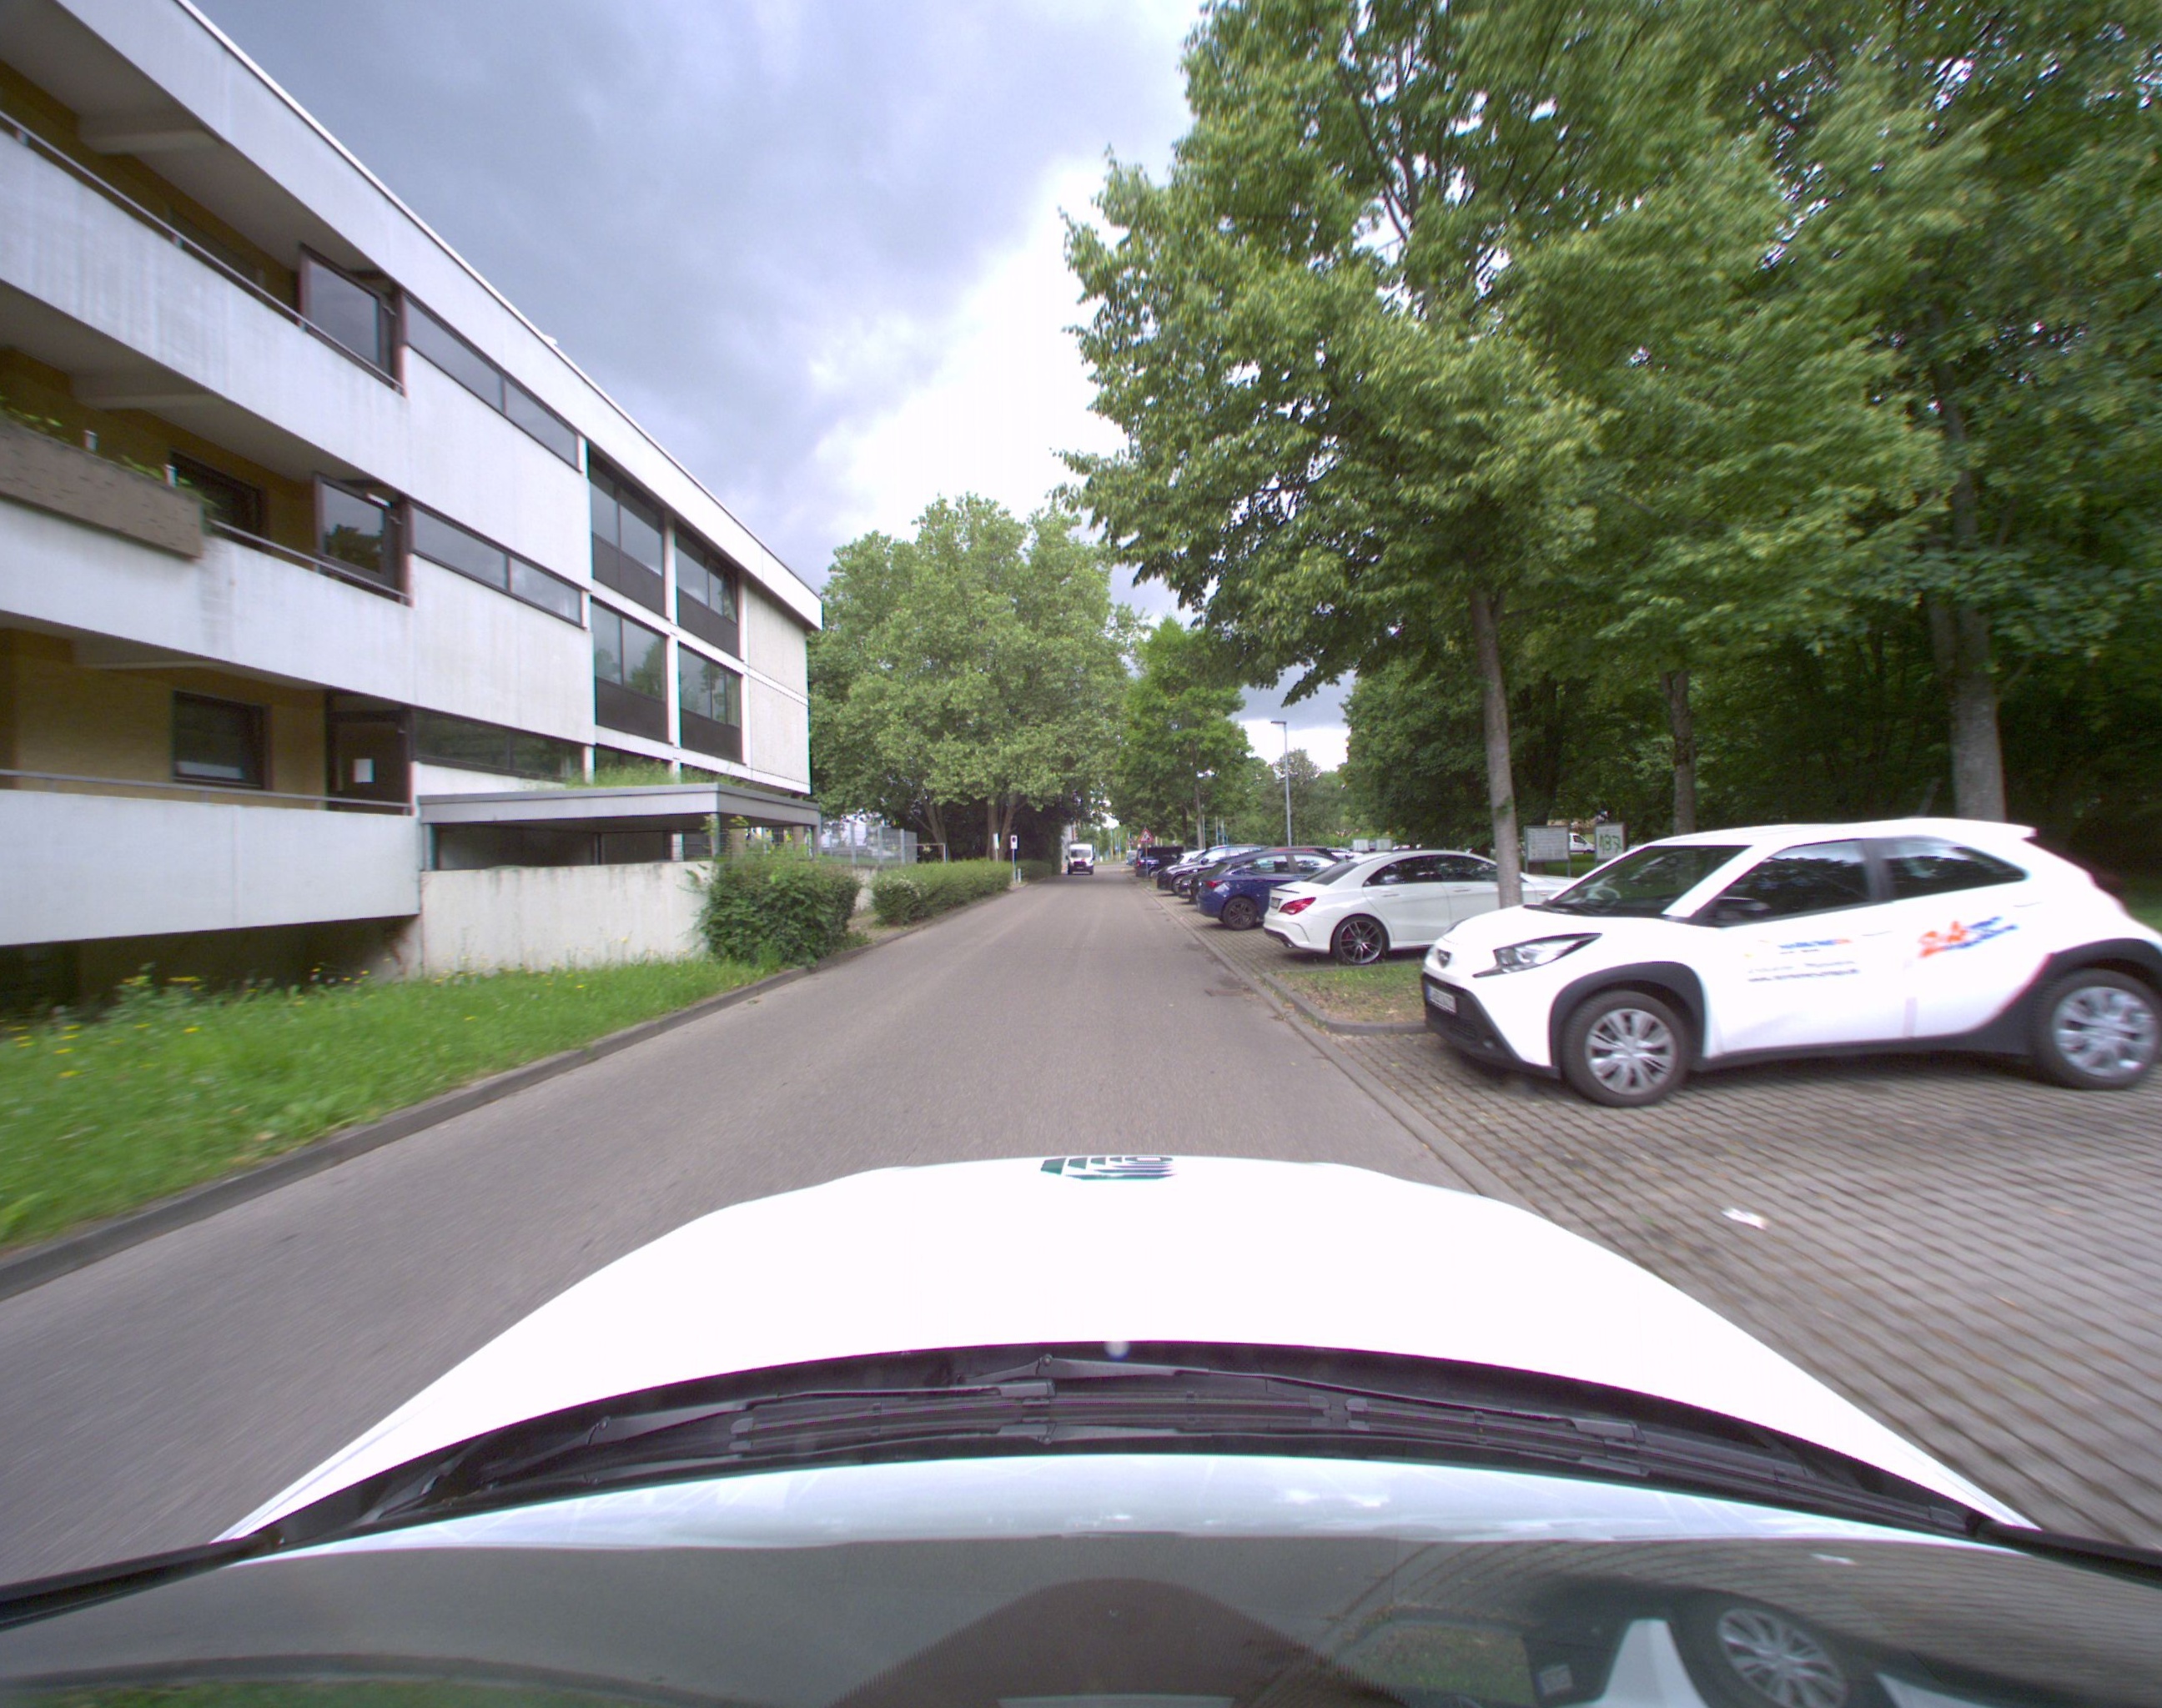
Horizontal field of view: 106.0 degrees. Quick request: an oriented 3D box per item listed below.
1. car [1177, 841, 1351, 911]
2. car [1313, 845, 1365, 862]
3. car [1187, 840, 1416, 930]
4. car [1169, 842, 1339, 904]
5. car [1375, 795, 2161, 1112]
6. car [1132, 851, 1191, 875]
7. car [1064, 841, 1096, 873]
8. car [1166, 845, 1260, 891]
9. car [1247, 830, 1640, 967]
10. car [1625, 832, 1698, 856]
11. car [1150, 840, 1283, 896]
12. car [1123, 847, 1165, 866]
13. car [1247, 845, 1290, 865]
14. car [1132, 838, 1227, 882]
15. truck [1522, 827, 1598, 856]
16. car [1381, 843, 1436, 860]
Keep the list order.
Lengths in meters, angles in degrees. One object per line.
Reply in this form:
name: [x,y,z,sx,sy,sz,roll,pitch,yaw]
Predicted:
car: [4.711,0.561,21.345,4.062,1.517,1.849,-3,-1,-3]
car: [24.012,0.001,75.997,4.368,1.428,1.707,-2,-1,7]
car: [4.256,0.583,16.236,4.057,1.456,1.852,-3,-1,2]
car: [5.019,0.532,24.185,4.617,1.517,1.984,-3,0,3]
car: [4.167,0.547,5.299,3.823,1.515,1.883,-3,-1,4]
car: [5.670,0.649,57.525,3.973,1.430,1.936,-3,-1,1]
car: [-0.032,0.246,66.664,2.123,2.476,6.283,-1,0,4]
car: [5.125,0.533,31.963,3.366,1.574,1.797,-3,0,2]
car: [4.701,0.563,11.074,4.469,1.454,1.847,-3,-1,1]
car: [55.004,-0.900,77.258,5.289,2.057,2.142,-2,-1,7]
car: [4.791,0.482,29.285,4.399,1.676,2.083,-3,0,1]
car: [7.587,0.357,98.085,4.953,1.972,1.848,-4,-1,2]
car: [17.643,0.121,76.774,3.757,1.668,1.772,-2,-1,9]
car: [5.326,0.316,44.797,4.934,2.013,2.167,-4,0,2]
truck: [43.203,-1.118,73.533,5.475,2.426,2.197,-2,-1,8]
car: [30.199,-0.192,75.117,4.403,1.428,1.707,-2,-1,8]
